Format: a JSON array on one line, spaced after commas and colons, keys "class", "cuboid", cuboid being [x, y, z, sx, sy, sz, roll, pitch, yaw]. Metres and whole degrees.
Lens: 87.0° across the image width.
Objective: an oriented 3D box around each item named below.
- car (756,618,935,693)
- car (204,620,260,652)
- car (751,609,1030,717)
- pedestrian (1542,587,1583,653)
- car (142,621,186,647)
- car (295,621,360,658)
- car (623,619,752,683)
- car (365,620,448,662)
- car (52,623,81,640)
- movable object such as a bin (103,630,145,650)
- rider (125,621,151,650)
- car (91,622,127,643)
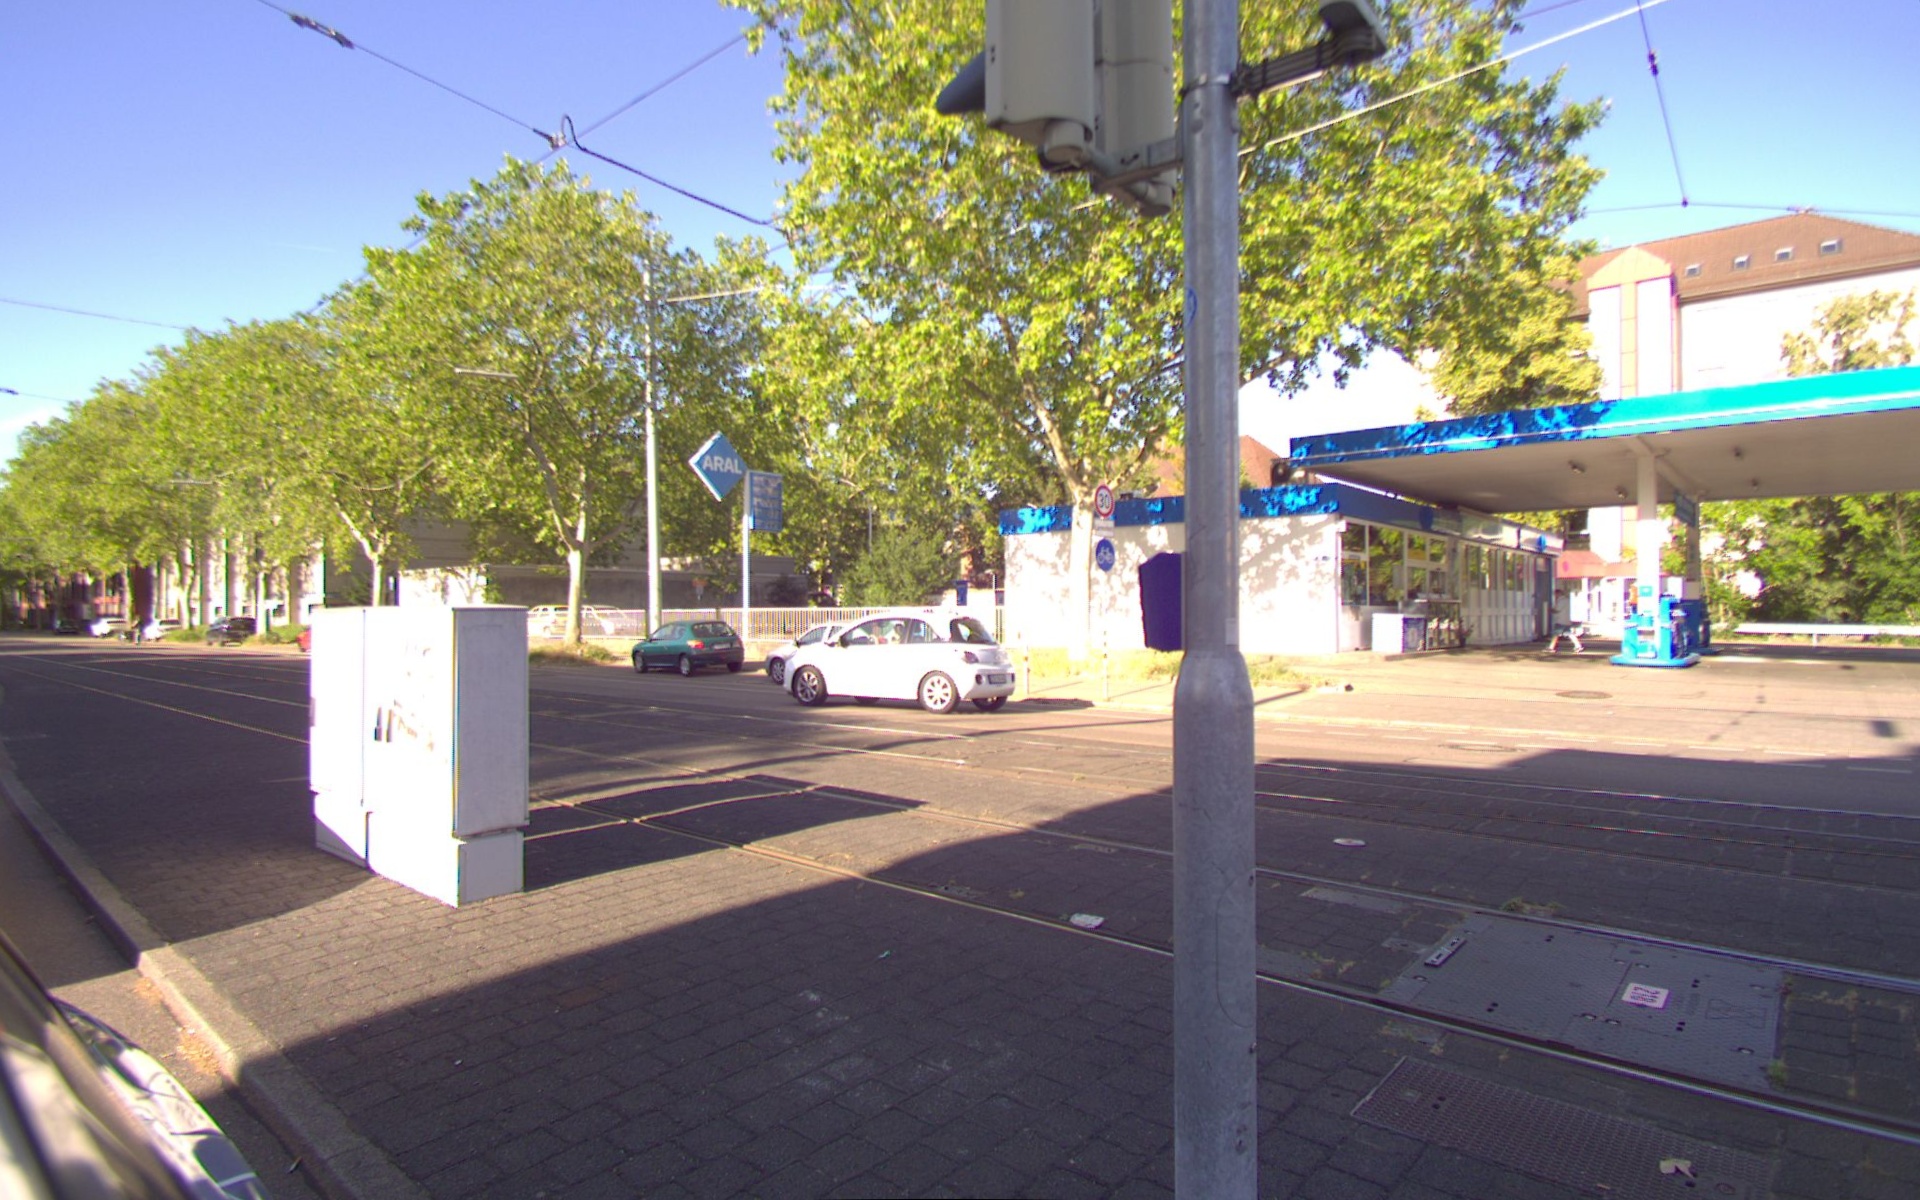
[{"class": "car", "cuboid": [-2.620, 1.184, 22.594, 3.987, 1.376, 1.666, -2, 3, 41]}, {"class": "car", "cuboid": [-40.681, 1.973, 56.522, 3.878, 1.603, 1.731, -1, 2, 43]}, {"class": "car", "cuboid": [-1.076, 0.915, 15.397, 3.919, 1.446, 1.726, 0, -4, 29]}, {"class": "pedestrian", "cuboid": [15.839, 0.536, 26.608, 0.847, 1.715, 0.640, -1, -3, 40]}, {"class": "car", "cuboid": [-53.691, 2.283, 68.242, 3.878, 1.552, 1.731, -1, 2, 43]}, {"class": "car", "cuboid": [-28.784, 1.775, 46.005, 3.377, 1.506, 1.639, -1, 2, 43]}, {"class": "car", "cuboid": [-7.284, 1.291, 26.876, 3.606, 1.455, 1.598, -1, 2, 43]}, {"class": "car", "cuboid": [-21.868, 1.564, 39.935, 3.769, 1.455, 1.701, -1, 2, 43]}, {"class": "car", "cuboid": [-85.026, 3.009, 96.329, 3.731, 1.471, 1.639, -1, 2, 43]}, {"class": "movable object such as a bin", "cuboid": [-48.065, 2.279, 58.212, 1.823, 1.111, 1.169, -1, 0, 24]}, {"class": "rider", "cuboid": [-46.853, 2.017, 57.690, 1.099, 1.660, 0.720, -1, 0, 24]}, {"class": "car", "cuboid": [-66.778, 2.498, 79.409, 3.731, 1.471, 1.639, -1, 2, 43]}]
